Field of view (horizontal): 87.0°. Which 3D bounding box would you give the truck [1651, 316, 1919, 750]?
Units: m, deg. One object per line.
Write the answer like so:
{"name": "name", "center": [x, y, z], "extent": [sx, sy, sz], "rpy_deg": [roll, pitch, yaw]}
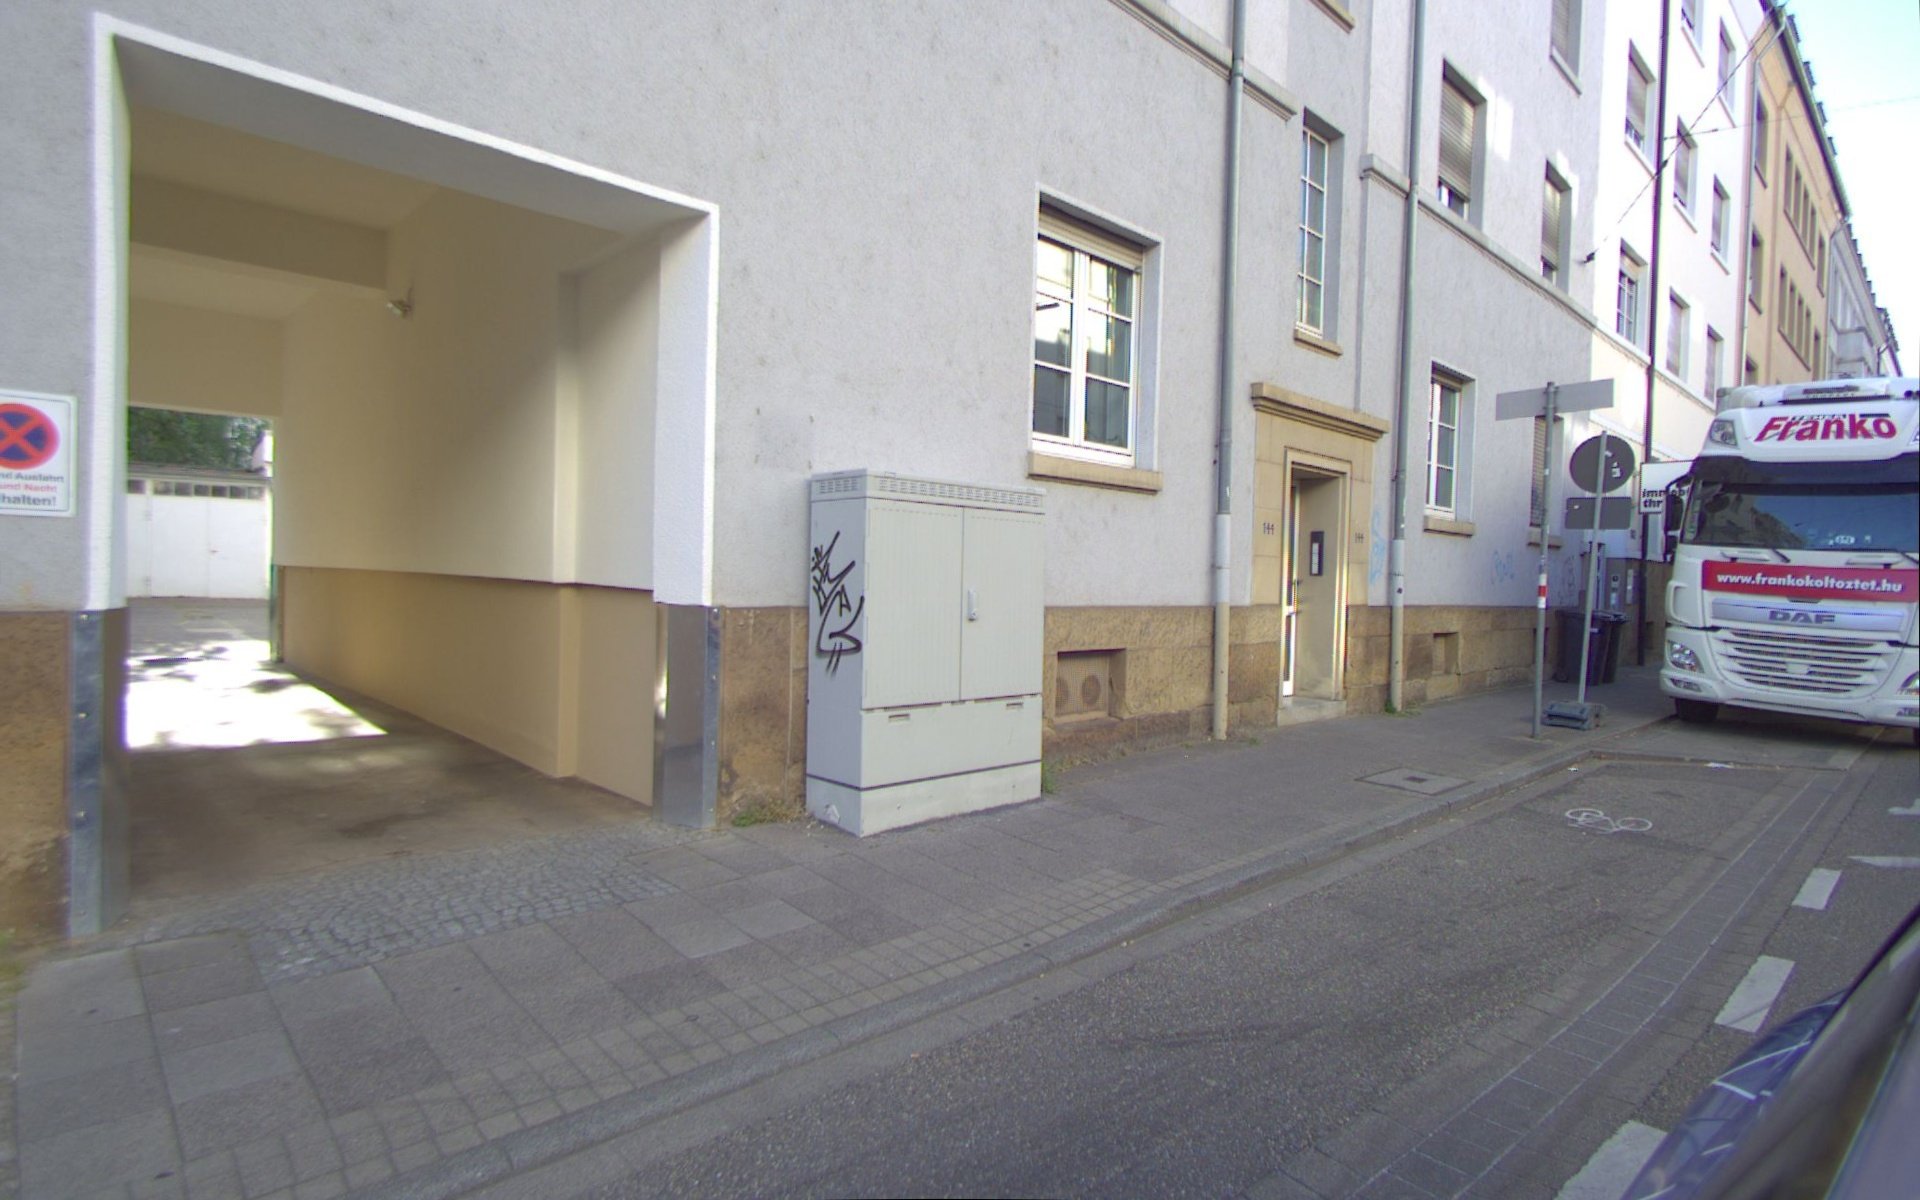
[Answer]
{"name": "truck", "center": [12.581, -0.609, 13.816], "extent": [11.511, 4.012, 2.894], "rpy_deg": [0, 0, -44]}

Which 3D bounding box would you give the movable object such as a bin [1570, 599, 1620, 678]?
{"name": "movable object such as a bin", "center": [9.138, 0.544, 14.560], "extent": [0.511, 1.106, 0.488], "rpy_deg": [0, 0, 45]}

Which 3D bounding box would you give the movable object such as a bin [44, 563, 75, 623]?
{"name": "movable object such as a bin", "center": [-14.380, -0.119, 16.162], "extent": [0.366, 0.919, 0.420], "rpy_deg": [0, 3, -44]}

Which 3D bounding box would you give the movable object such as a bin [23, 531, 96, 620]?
{"name": "movable object such as a bin", "center": [-14.848, -0.414, 16.690], "extent": [0.874, 1.409, 0.758], "rpy_deg": [0, 4, -44]}

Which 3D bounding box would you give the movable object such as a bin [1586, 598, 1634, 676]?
{"name": "movable object such as a bin", "center": [9.607, 0.533, 14.952], "extent": [0.511, 1.106, 0.488], "rpy_deg": [0, 0, 45]}
